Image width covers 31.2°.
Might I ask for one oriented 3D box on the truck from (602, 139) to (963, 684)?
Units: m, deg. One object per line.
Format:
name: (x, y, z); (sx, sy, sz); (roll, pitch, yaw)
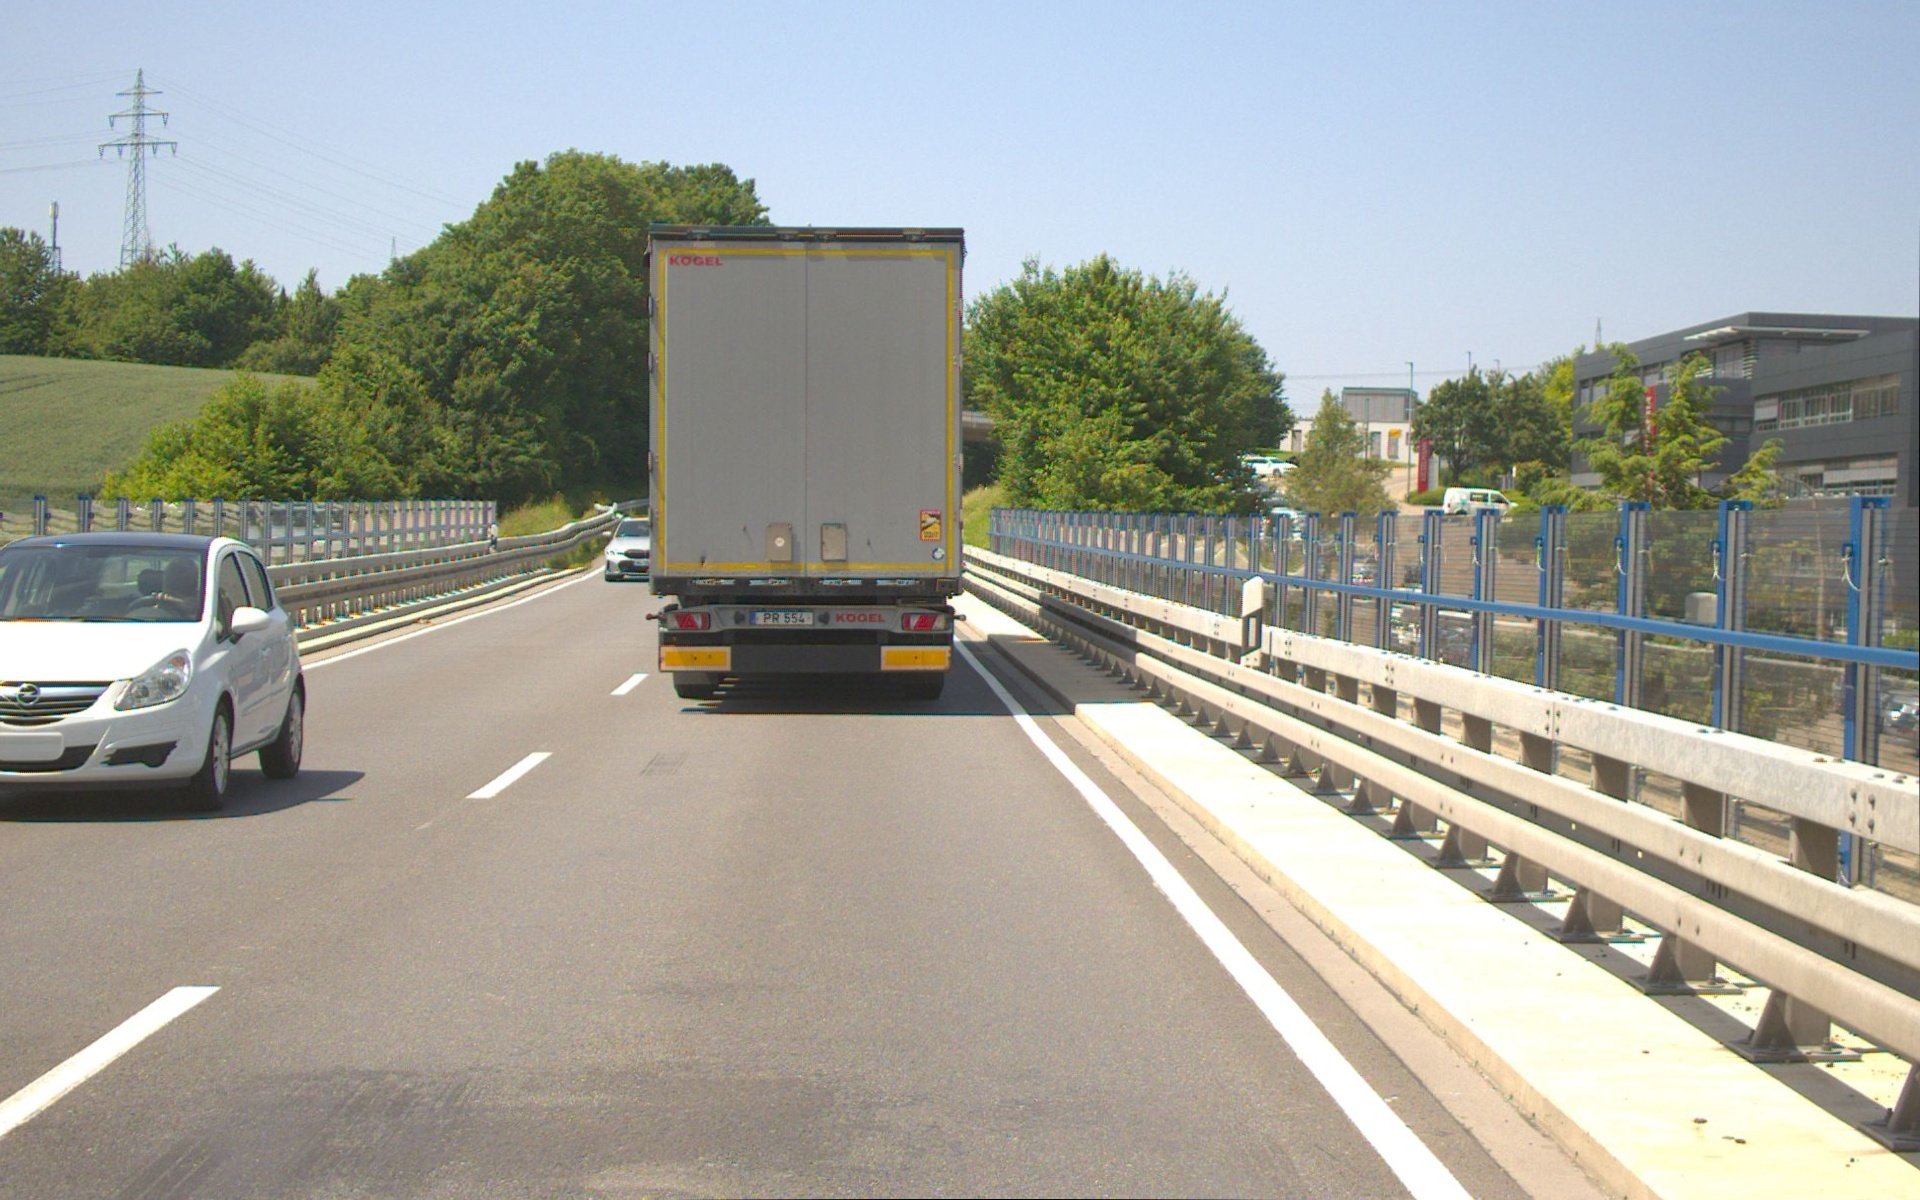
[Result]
truck: (-1.625, -1.528, 32.359); (2.866, 4.344, 9.790); (0, 0, -2)

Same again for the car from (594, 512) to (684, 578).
car: (-7.160, -1.241, 77.026); (1.781, 1.431, 4.835); (0, 1, -3)

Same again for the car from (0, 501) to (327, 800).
car: (-4.737, 0.227, 19.346); (1.707, 1.500, 4.119); (0, 1, -2)
